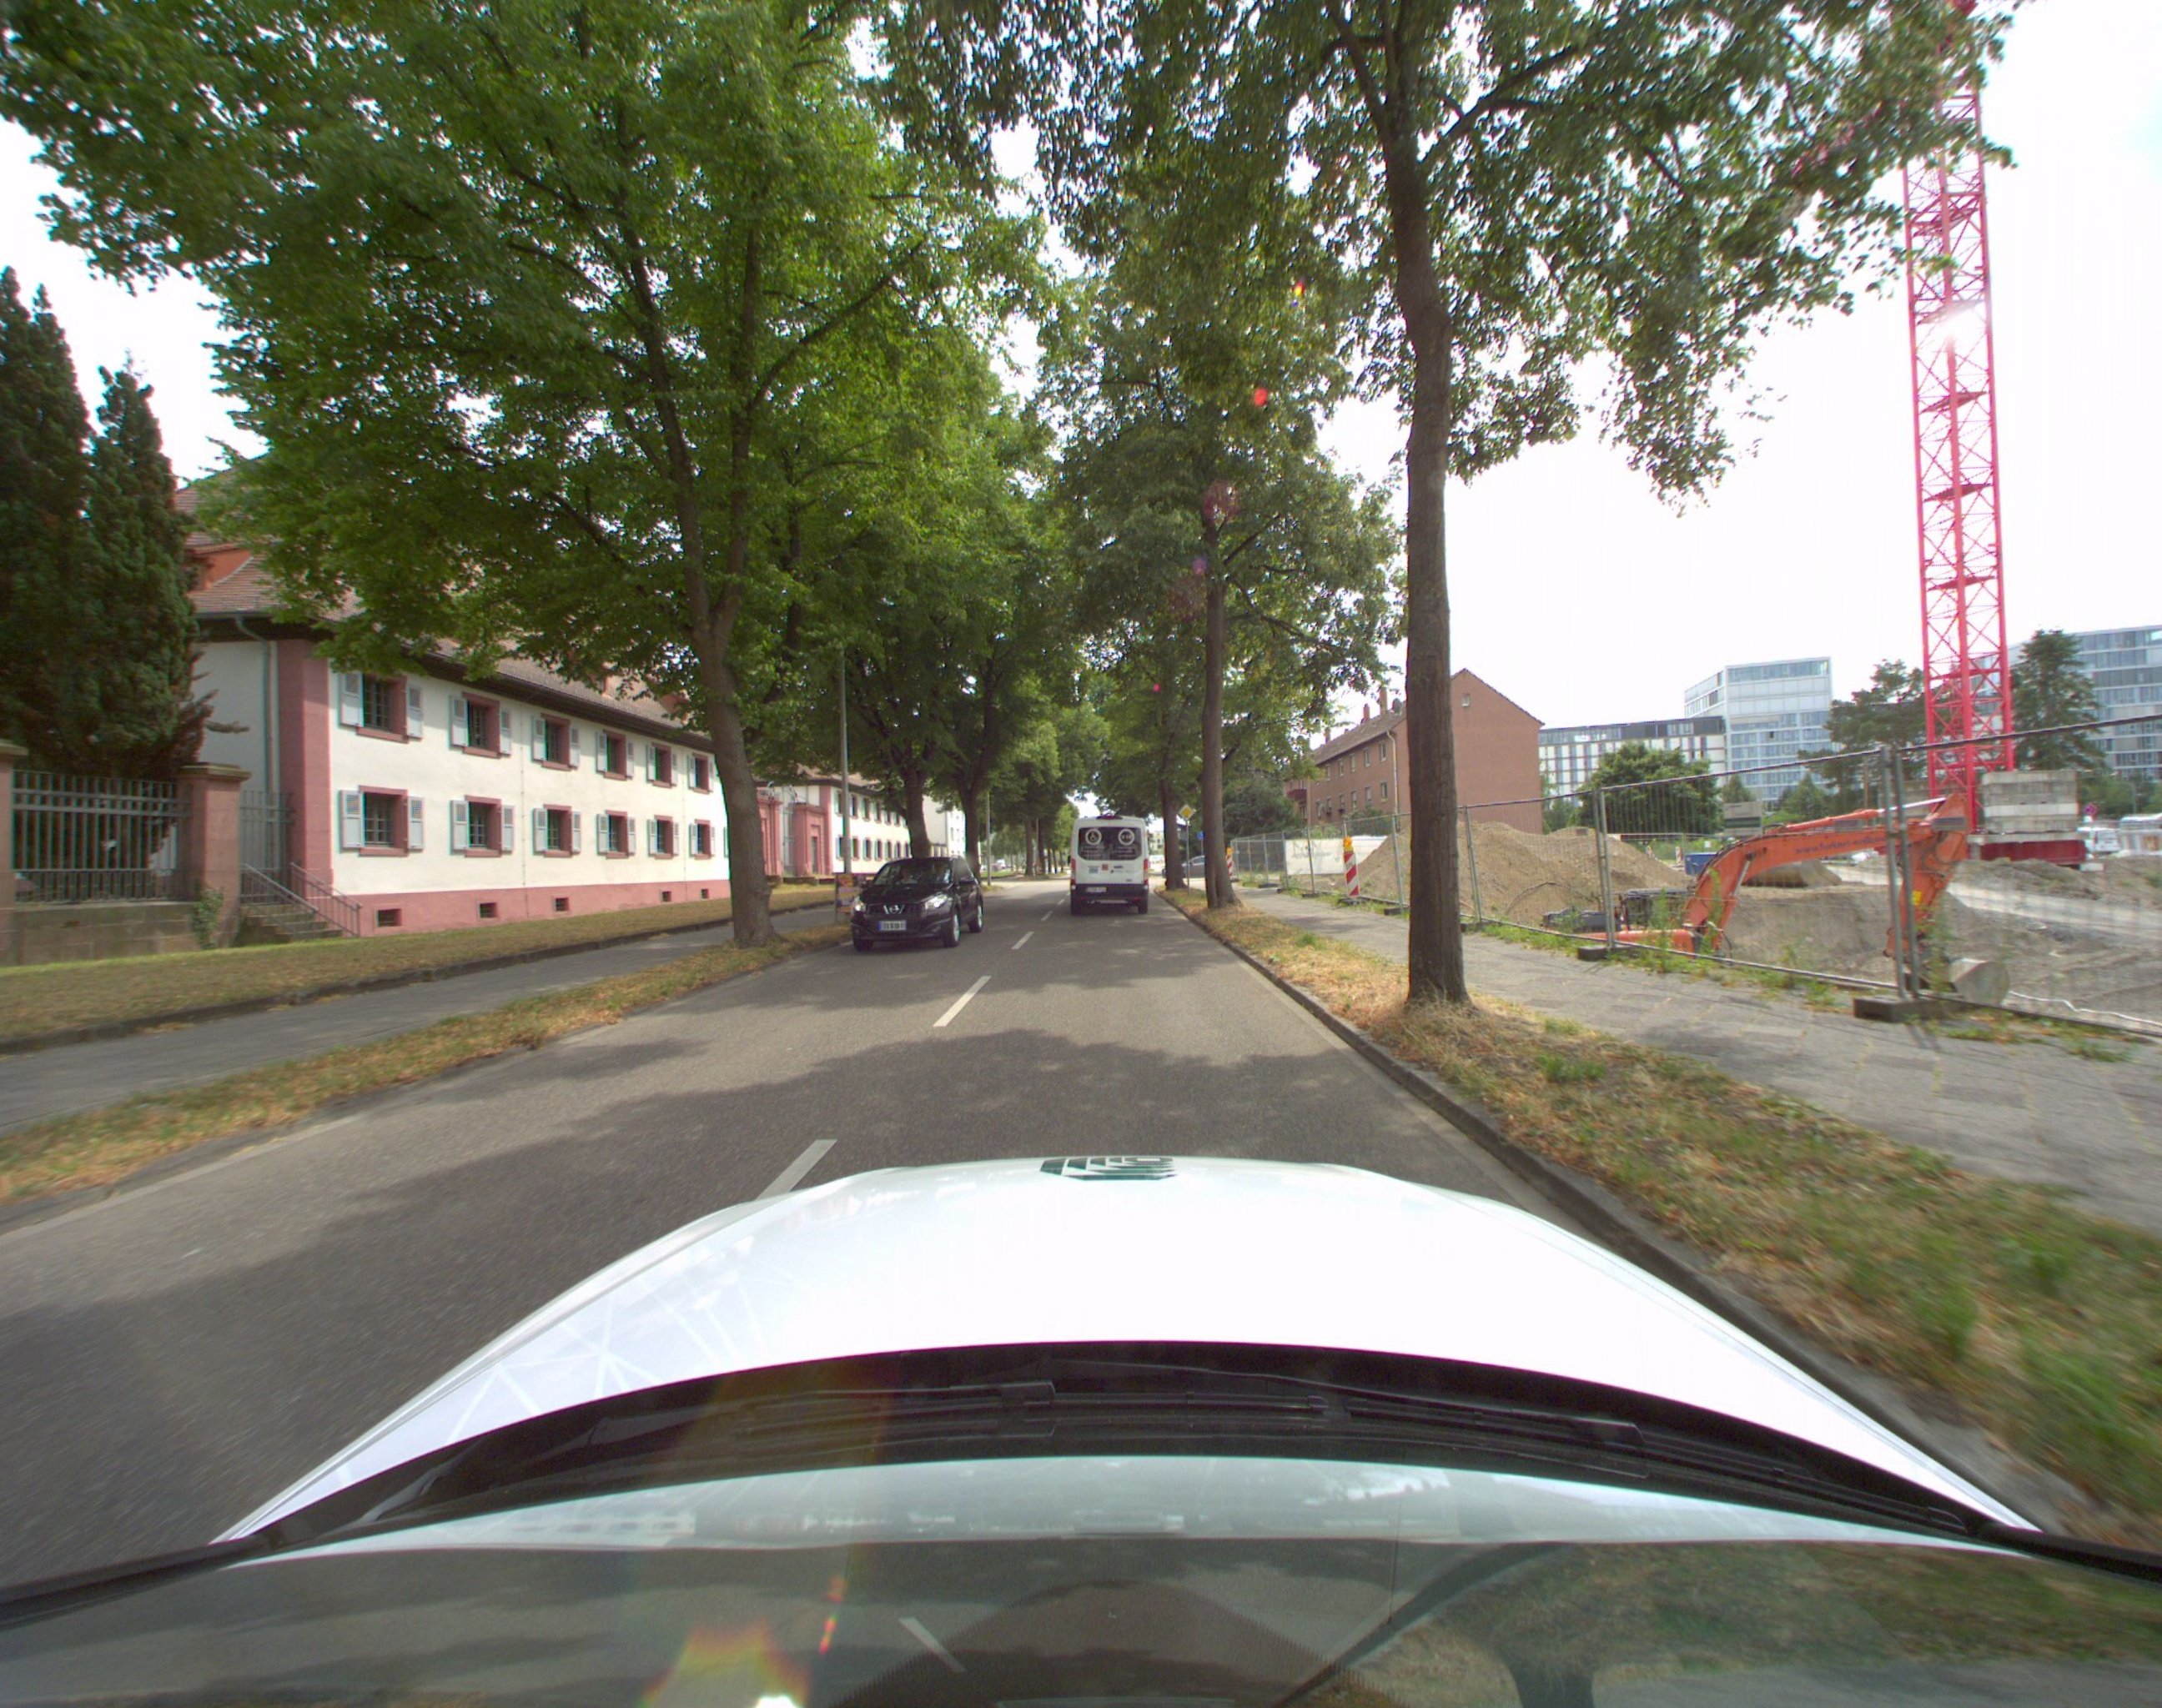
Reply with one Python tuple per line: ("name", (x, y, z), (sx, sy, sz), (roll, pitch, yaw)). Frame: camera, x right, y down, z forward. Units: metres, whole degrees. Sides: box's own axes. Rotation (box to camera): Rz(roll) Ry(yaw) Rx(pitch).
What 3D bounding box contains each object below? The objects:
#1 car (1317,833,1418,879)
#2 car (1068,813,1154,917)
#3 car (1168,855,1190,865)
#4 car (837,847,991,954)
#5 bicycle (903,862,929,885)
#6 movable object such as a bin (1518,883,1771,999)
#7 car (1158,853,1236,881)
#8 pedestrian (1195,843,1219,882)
("car", (17.796, 0.097, 50.751), (5.449, 2.632, 2.338), (-2, 1, 3))
("car", (0.712, 0.251, 22.015), (2.057, 2.539, 3.998), (-1, 0, -2))
("car", (21.477, 1.281, 179.251), (4.391, 1.816, 2.009), (-3, -1, -5))
("car", (-2.968, 0.779, 15.413), (1.764, 1.659, 4.259), (-3, -1, 3))
("bicycle", (-8.257, 0.974, 40.787), (0.720, 1.095, 2.226), (2, 0, 1))
("movable object such as a bin", (14.638, 2.249, 21.632), (4.647, 2.590, 3.146), (-4, -1, 15))
("car", (6.763, 0.767, 48.010), (4.353, 1.443, 2.012), (-2, -3, 3))
("pedestrian", (6.102, 0.410, 39.278), (0.875, 1.814, 0.893), (-4, -1, 20))
